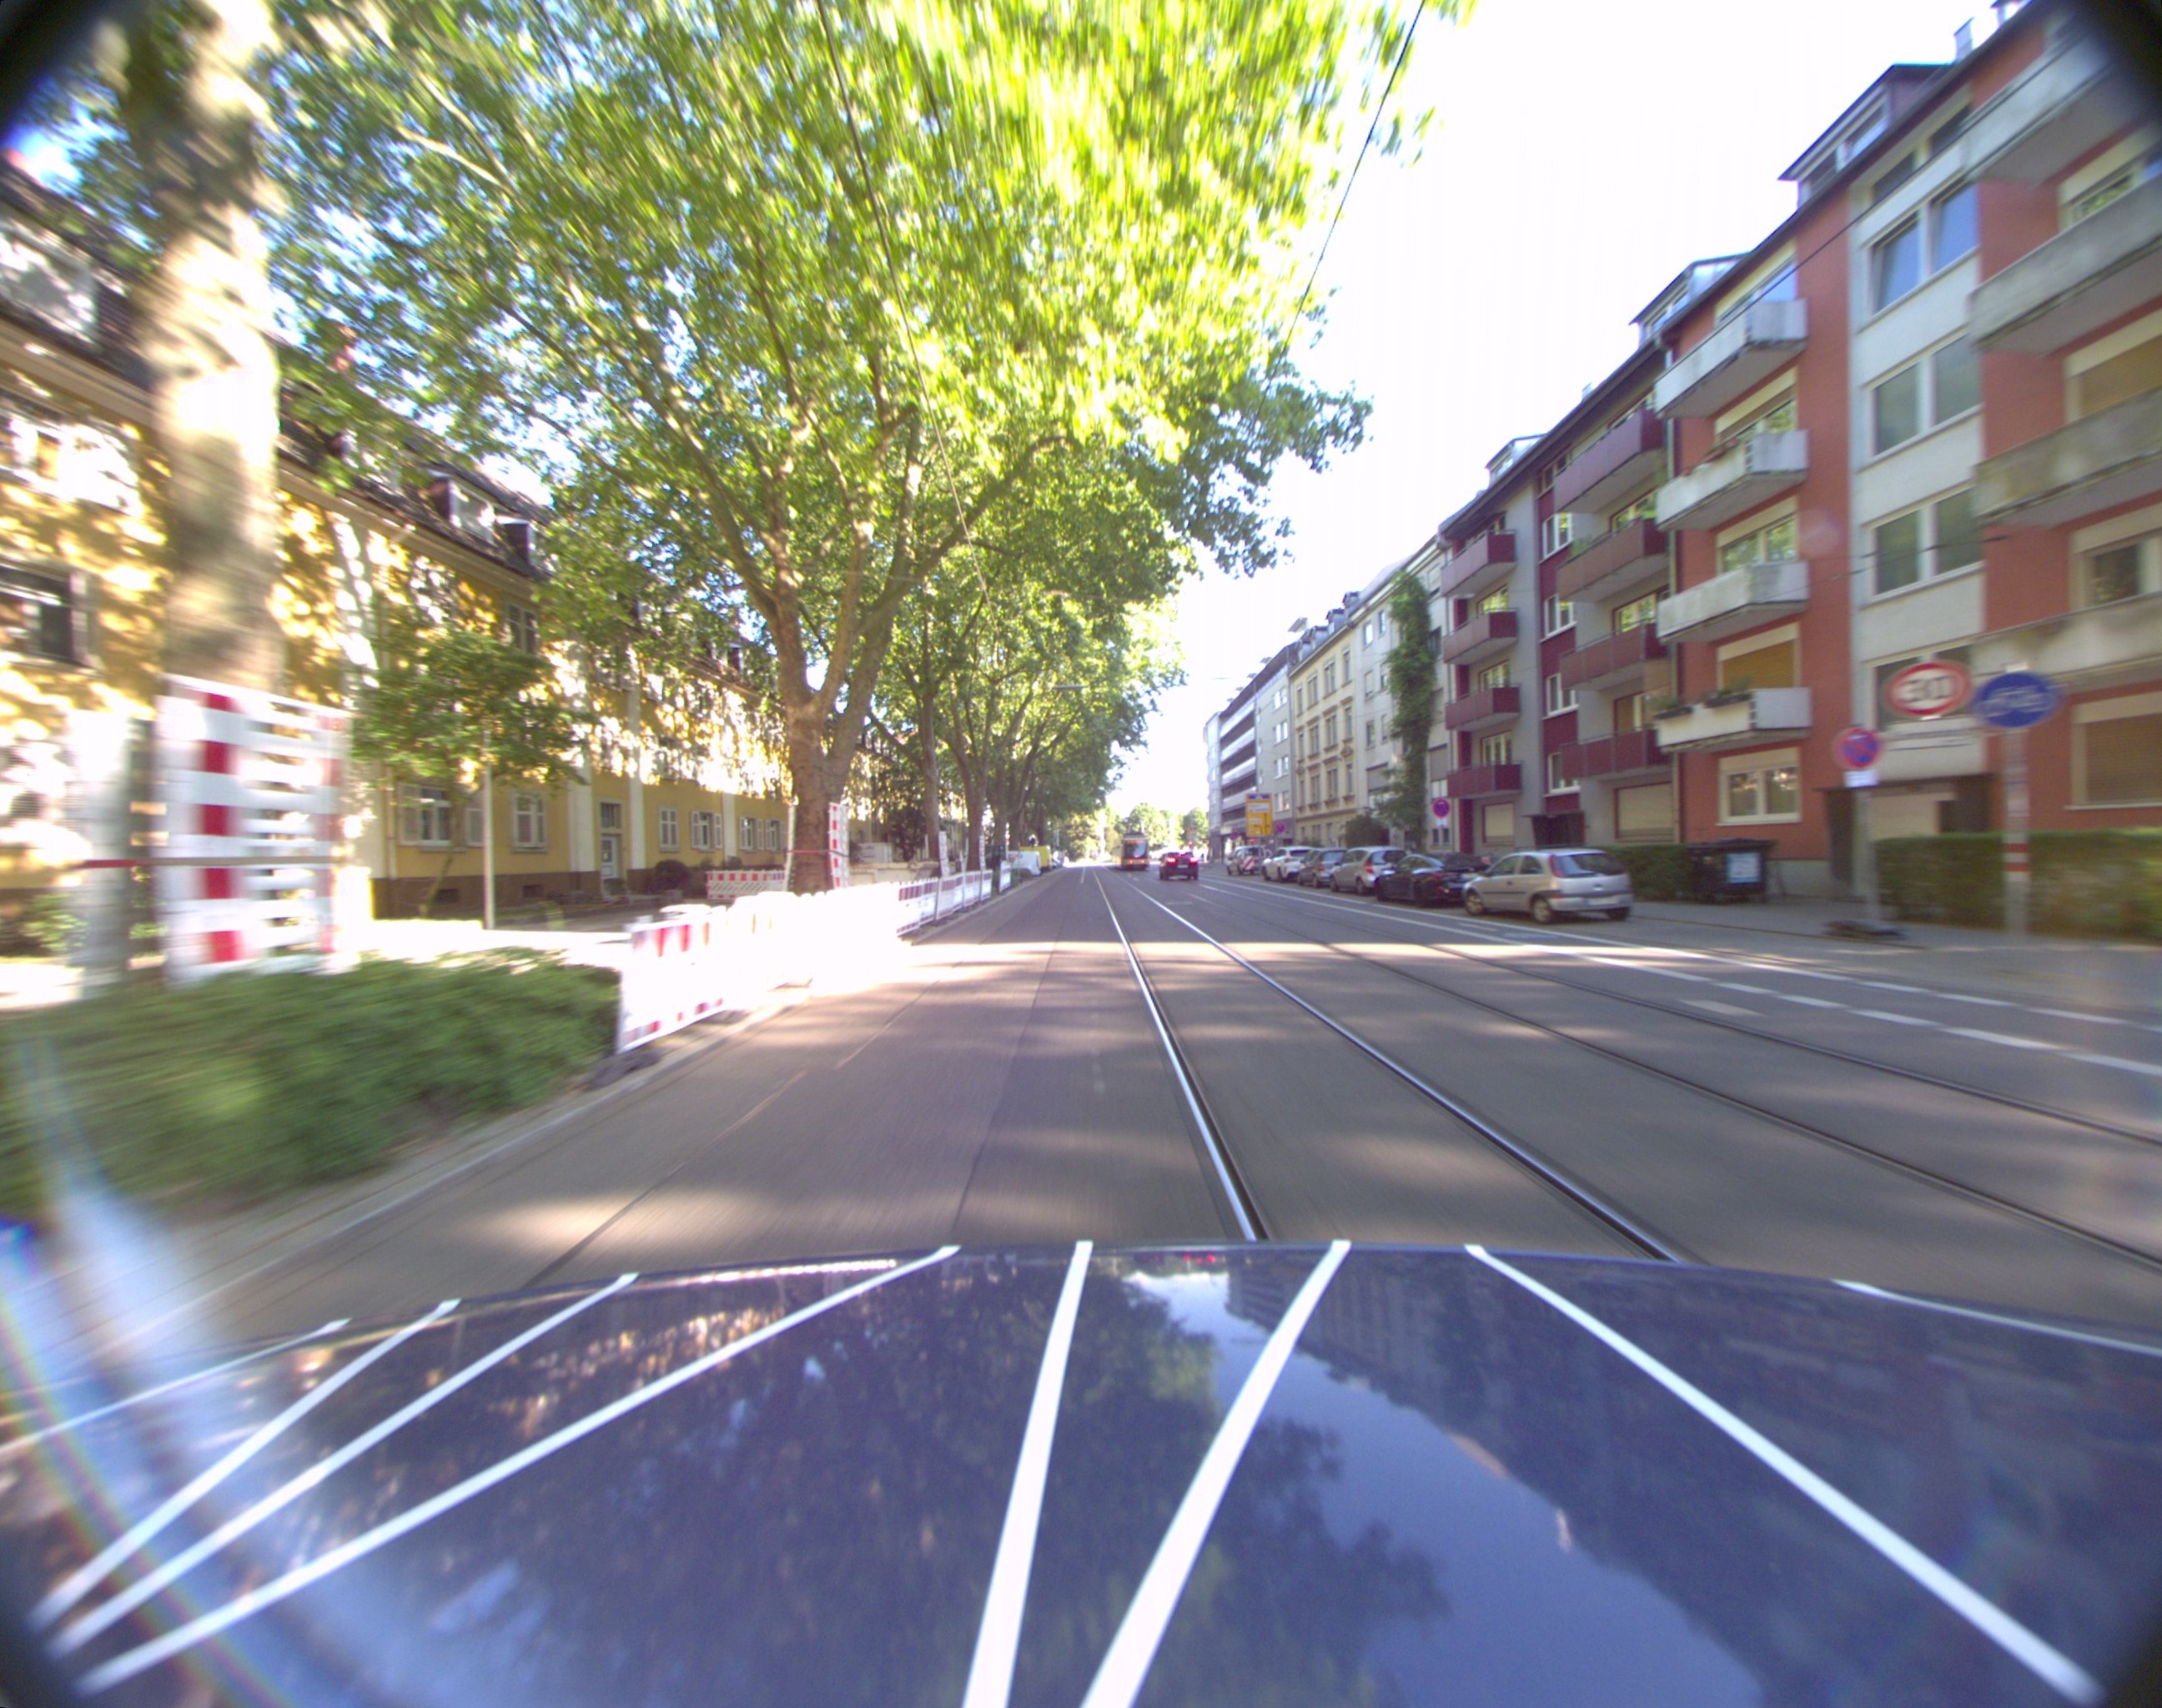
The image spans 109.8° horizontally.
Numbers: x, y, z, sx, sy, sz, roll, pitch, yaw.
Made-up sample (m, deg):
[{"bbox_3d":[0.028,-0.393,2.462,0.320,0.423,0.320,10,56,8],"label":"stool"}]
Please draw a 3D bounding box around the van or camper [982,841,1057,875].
[{"bbox_3d":[-5.107,0.328,63.529,5.939,2.614,2.270,-1,2,3],"label":"van or camper"}]

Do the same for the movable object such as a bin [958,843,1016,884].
[{"bbox_3d":[-5.374,0.518,43.781,1.482,2.256,3.283,-1,0,34],"label":"movable object such as a bin"}]

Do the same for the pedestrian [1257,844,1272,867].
[{"bbox_3d":[14.551,0.153,60.283,0.866,1.774,0.736,-3,1,-1],"label":"pedestrian"}]

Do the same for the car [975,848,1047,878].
[{"bbox_3d":[-4.935,0.646,53.899,4.847,2.001,2.063,-1,0,0],"label":"car"}]

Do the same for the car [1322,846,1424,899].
[{"bbox_3d":[9.871,0.576,26.055,1.824,1.577,4.004,-3,0,-1],"label":"car"}]

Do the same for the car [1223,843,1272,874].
[{"bbox_3d":[10.297,0.289,47.280,1.793,1.760,4.470,-3,0,-2],"label":"car"}]

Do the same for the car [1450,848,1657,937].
[{"bbox_3d":[9.447,0.684,15.621,1.729,1.474,3.929,-4,0,0],"label":"car"}]

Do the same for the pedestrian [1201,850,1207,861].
[{"bbox_3d":[18.479,0.204,114.140,0.716,1.664,0.904,-2,1,9],"label":"pedestrian"}]

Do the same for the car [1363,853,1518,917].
[{"bbox_3d":[9.601,0.741,20.815,1.957,1.387,4.863,-4,0,2],"label":"car"}]

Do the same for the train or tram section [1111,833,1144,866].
[{"bbox_3d":[5.227,-0.511,87.637,2.916,3.465,13.368,-2,0,0],"label":"train or tram section"}]

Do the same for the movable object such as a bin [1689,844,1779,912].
[{"bbox_3d":[13.571,0.489,15.813,1.214,1.357,0.747,-1,1,2],"label":"movable object such as a bin"}]

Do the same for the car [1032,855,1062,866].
[{"bbox_3d":[-4.534,0.830,100.737,3.891,1.488,1.741,0,0,-2],"label":"car"}]

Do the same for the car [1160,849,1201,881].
[{"bbox_3d":[5.559,0.570,42.968,1.857,1.591,4.464,-2,1,3],"label":"car"}]

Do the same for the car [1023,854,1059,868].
[{"bbox_3d":[-4.919,0.867,94.176,4.437,1.648,1.908,0,1,-1],"label":"car"}]

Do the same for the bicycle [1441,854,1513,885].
[{"bbox_3d":[14.759,0.580,28.357,2.296,0.987,0.699,-4,1,-2],"label":"bicycle"}]

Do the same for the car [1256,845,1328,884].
[{"bbox_3d":[9.988,0.436,36.326,1.957,1.639,4.881,-3,1,0],"label":"car"}]

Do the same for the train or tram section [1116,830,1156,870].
[{"bbox_3d":[5.146,-0.366,73.881,2.916,3.465,14.197,-2,0,0],"label":"train or tram section"}]

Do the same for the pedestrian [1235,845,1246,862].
[{"bbox_3d":[16.193,-0.074,77.064,0.789,1.703,0.820,-5,1,0],"label":"pedestrian"}]

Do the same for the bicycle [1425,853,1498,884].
[{"bbox_3d":[14.774,0.552,29.507,2.457,1.056,0.699,-3,1,-2],"label":"bicycle"}]

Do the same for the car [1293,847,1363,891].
[{"bbox_3d":[9.936,0.542,30.834,1.630,1.563,3.781,-3,1,2],"label":"car"}]
